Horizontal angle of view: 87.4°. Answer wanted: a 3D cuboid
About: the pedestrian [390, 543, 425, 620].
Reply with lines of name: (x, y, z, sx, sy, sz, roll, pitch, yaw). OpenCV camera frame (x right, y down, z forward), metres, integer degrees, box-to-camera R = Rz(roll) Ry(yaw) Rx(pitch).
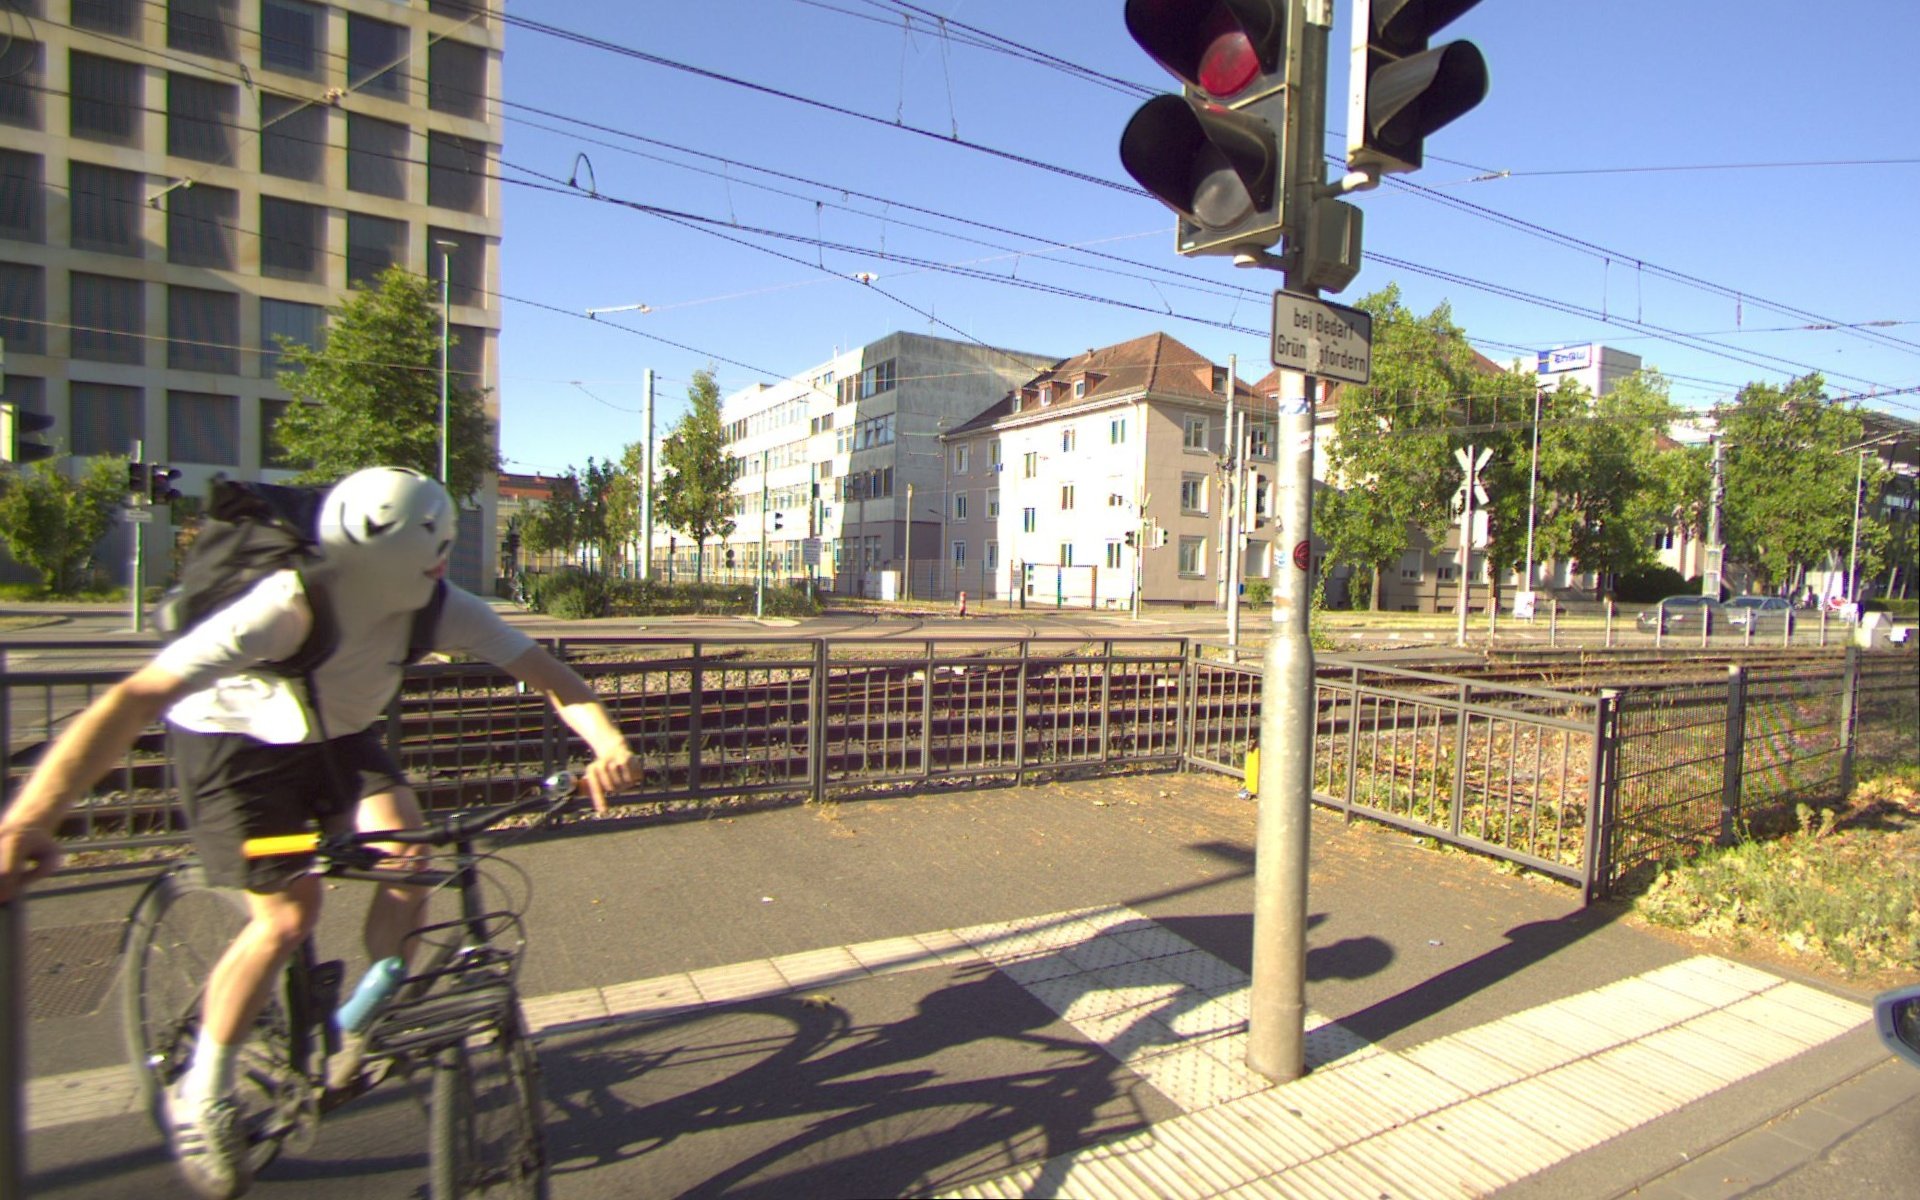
pedestrian: (-12.717, -0.417, 23.119, 0.664, 1.740, 0.660, 0, 2, -32)

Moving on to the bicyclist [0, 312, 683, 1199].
bicyclist: (-1.173, 0.419, 2.015, 0.891, 1.740, 0.771, 2, 2, 17)

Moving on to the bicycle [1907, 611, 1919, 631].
bicycle: (77.204, 1.685, 80.624, 3.142, 1.506, 0.925, 1, 2, -32)

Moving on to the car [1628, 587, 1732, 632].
car: (27.427, 0.383, 38.265, 3.954, 1.568, 1.731, 1, 2, -31)

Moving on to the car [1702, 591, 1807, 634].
car: (32.053, 0.506, 40.524, 3.953, 1.550, 1.983, 1, 2, -30)

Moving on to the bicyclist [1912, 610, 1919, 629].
bicyclist: (77.127, 1.591, 80.449, 1.258, 1.506, 0.925, 0, 2, -32)

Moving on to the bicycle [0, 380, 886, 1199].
bicycle: (-1.187, 0.494, 2.104, 1.933, 1.740, 0.591, 2, 2, 16)

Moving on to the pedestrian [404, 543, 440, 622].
pedestrian: (-12.153, -0.399, 22.683, 0.664, 1.740, 0.660, 0, 2, -32)
